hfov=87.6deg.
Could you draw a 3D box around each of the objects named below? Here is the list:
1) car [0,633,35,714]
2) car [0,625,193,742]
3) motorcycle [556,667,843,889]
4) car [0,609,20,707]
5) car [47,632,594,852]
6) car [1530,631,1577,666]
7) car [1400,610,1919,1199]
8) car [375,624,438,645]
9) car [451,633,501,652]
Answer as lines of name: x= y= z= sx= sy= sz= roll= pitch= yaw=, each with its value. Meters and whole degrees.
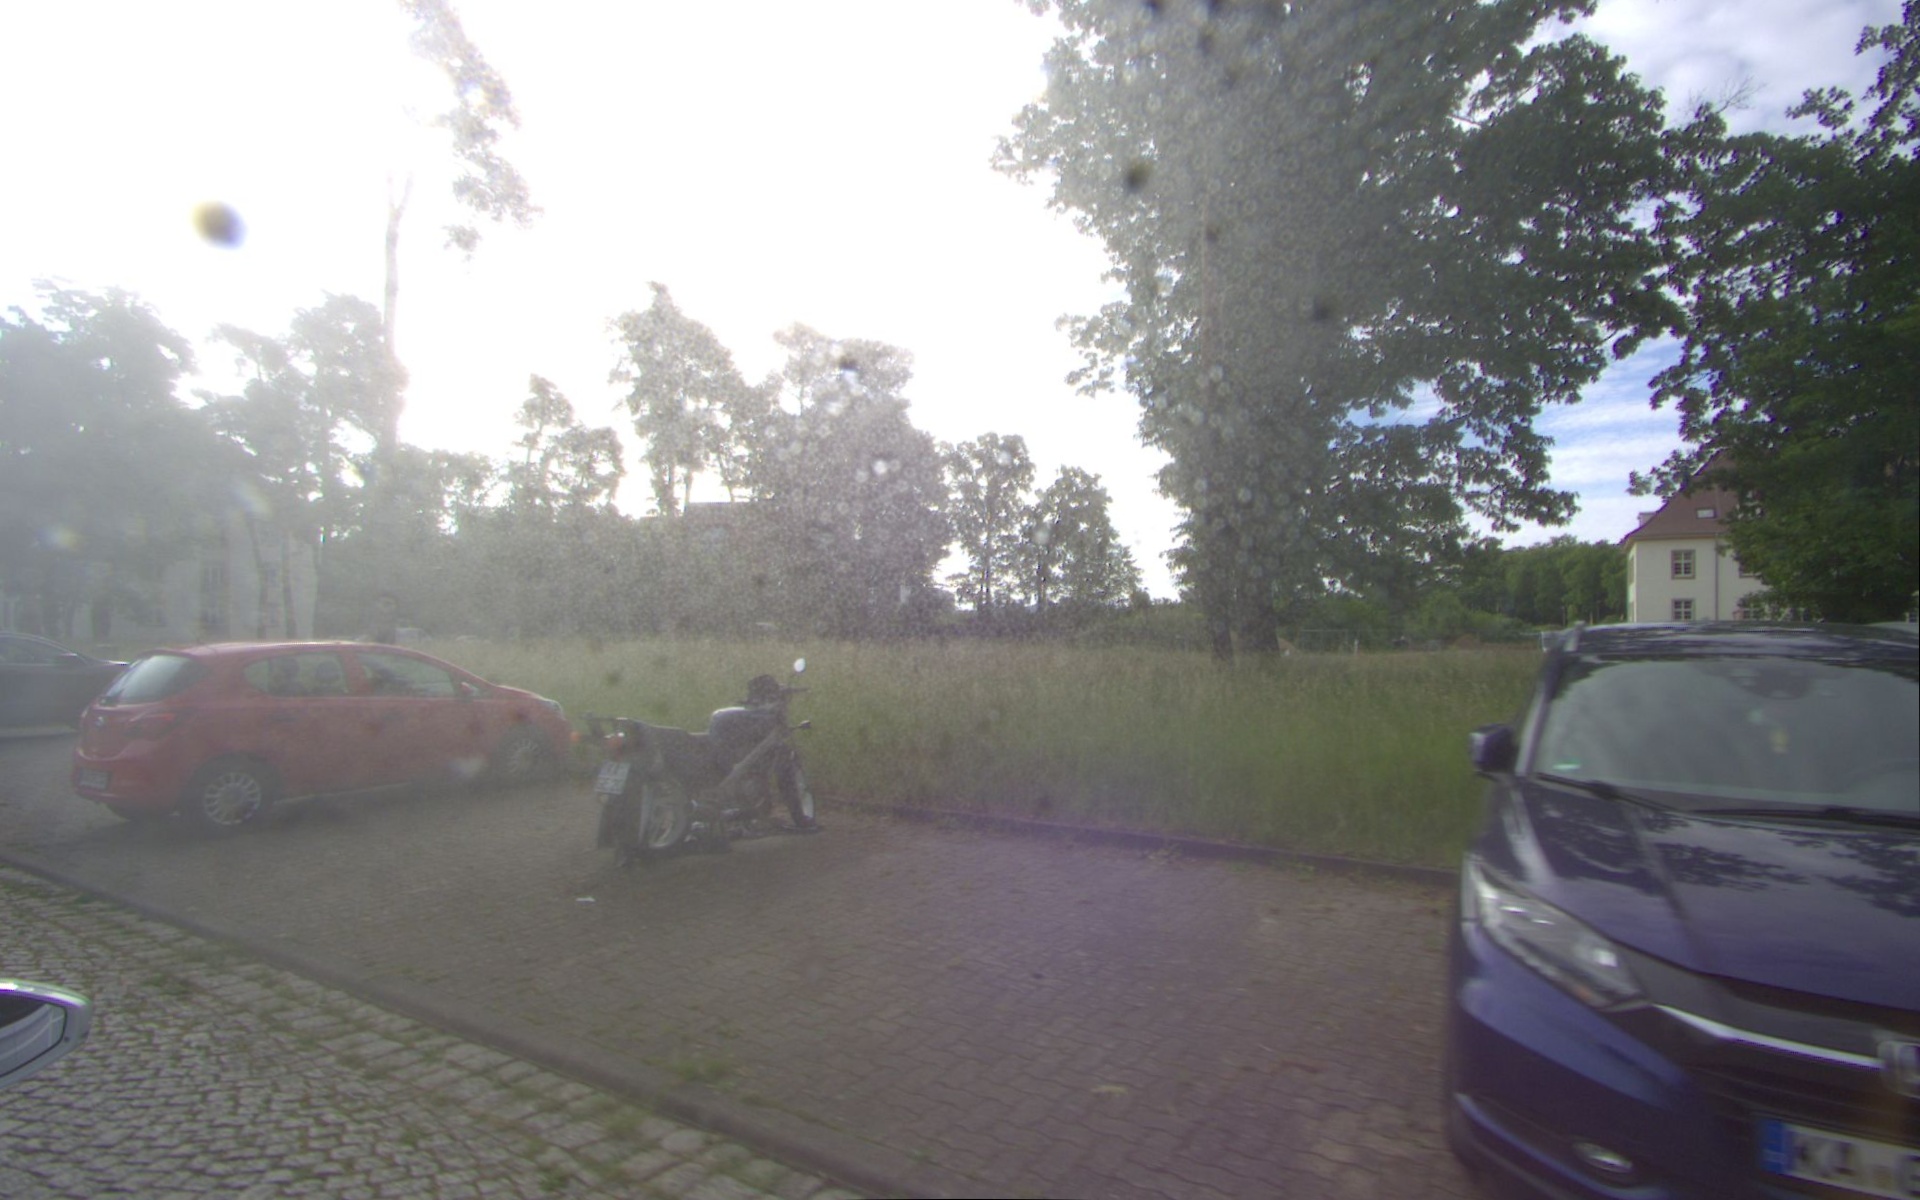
car: x=-19.530 y=1.375 z=17.912 sx=1.695 sy=1.498 sz=4.094 roll=0 pitch=-1 yaw=29
car: x=-14.150 y=1.192 z=14.699 sx=1.924 sy=1.615 sz=4.198 roll=0 pitch=-1 yaw=30
motorcycle: x=-1.720 y=1.131 z=7.063 sx=0.560 sy=1.217 sz=2.227 roll=0 pitch=-1 yaw=30
car: x=-21.627 y=1.165 z=19.291 sx=1.937 sy=2.030 sz=4.789 roll=0 pitch=-1 yaw=30
car: x=-5.574 y=1.079 z=9.254 sx=1.758 sy=1.516 sz=3.918 roll=0 pitch=-1 yaw=31
car: x=48.079 y=3.962 z=81.277 sx=2.238 sy=2.673 sz=5.675 roll=0 pitch=-3 yaw=20
car: x=2.836 y=0.880 z=3.548 sx=1.859 sy=1.644 sz=4.239 roll=0 pitch=-1 yaw=31
car: x=-57.659 y=3.650 z=104.400 sx=2.076 sy=2.044 sz=5.293 roll=-1 pitch=-4 yaw=33
car: x=-48.149 y=4.221 z=99.650 sx=1.874 sy=1.826 sz=4.126 roll=-1 pitch=-4 yaw=34
